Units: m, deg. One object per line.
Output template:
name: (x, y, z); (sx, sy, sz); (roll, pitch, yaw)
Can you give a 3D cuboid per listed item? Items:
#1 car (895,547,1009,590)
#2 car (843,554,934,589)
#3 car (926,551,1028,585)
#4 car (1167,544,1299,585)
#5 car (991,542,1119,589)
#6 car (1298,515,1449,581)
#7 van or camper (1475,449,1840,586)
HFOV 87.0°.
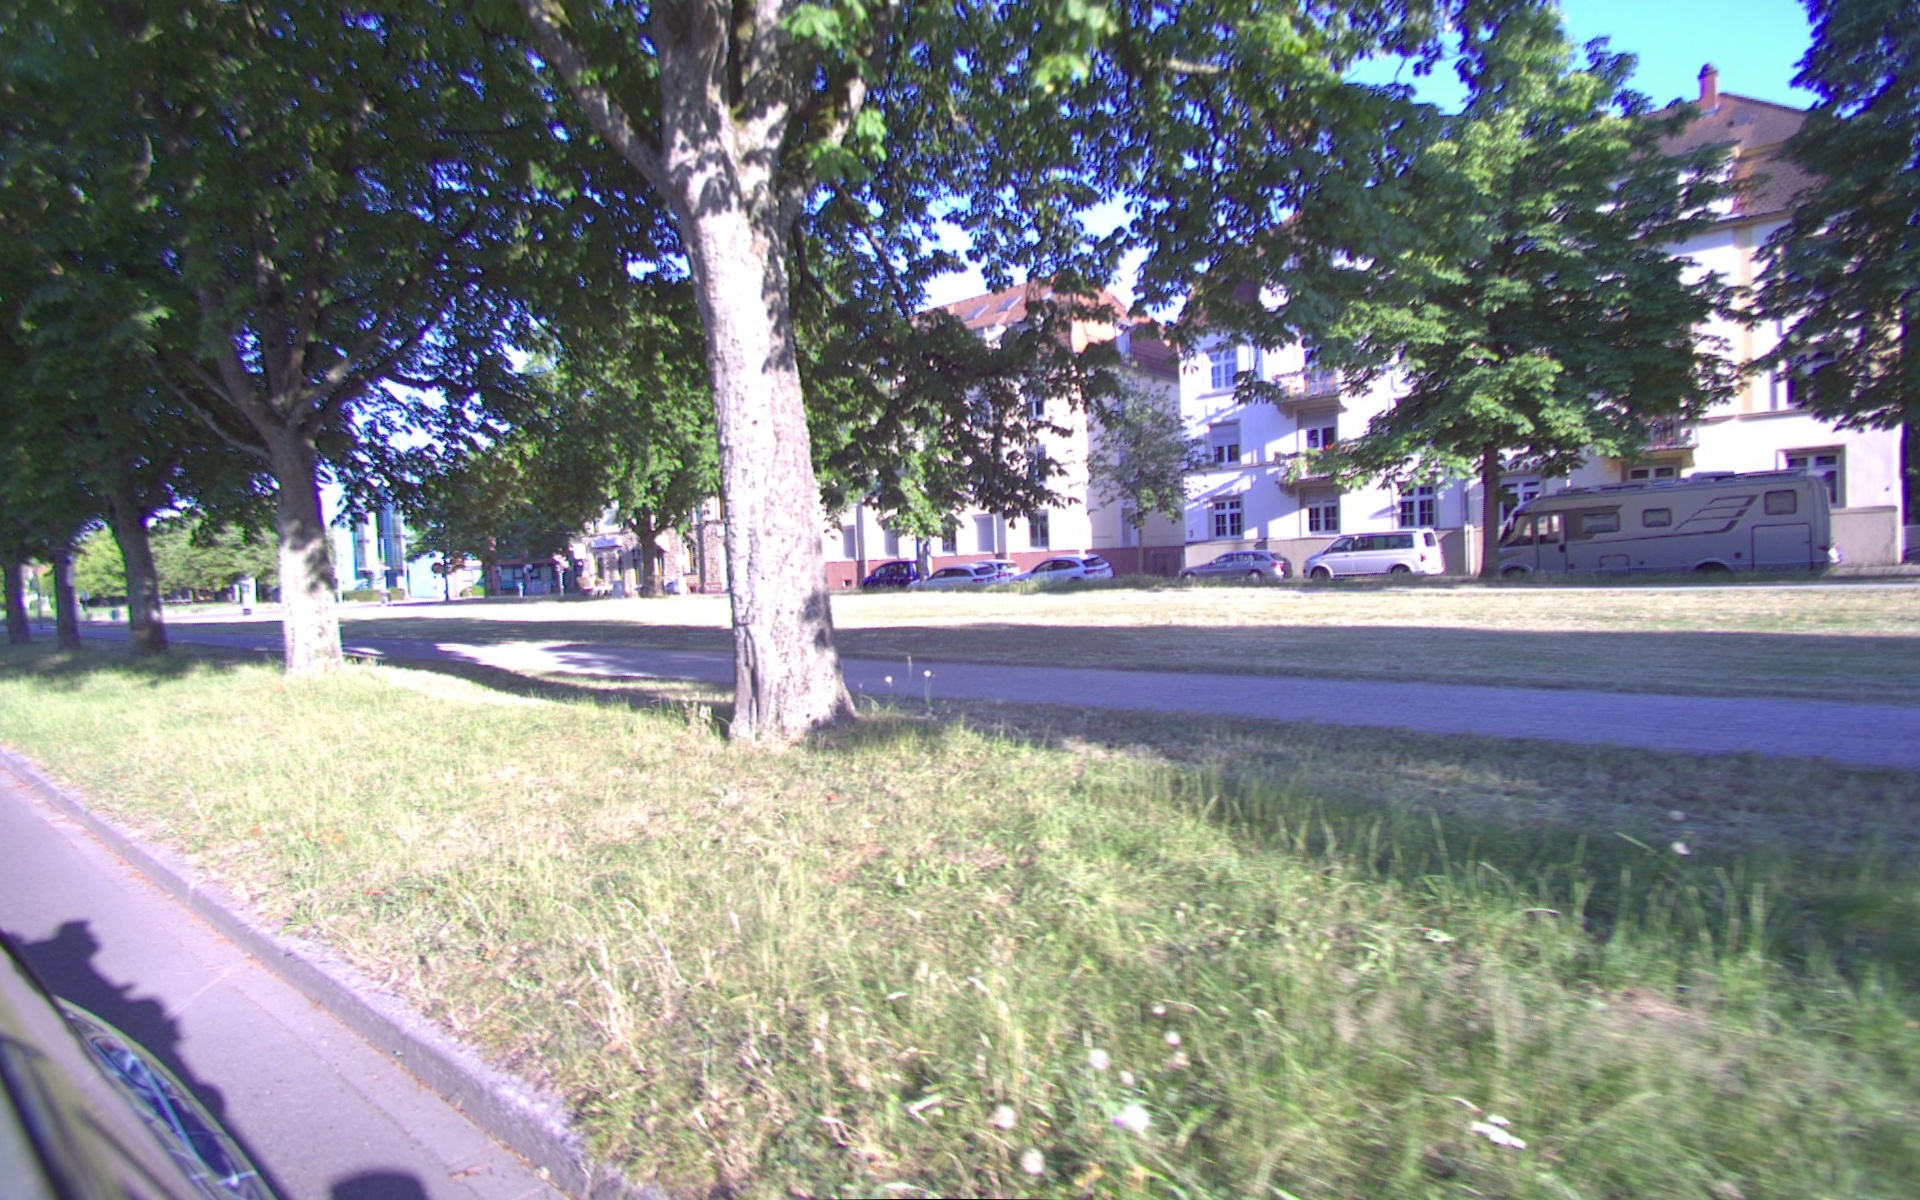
car: (-0.397, -1.360, 44.167); (4.874, 1.702, 1.973); (0, 3, 42)
car: (-3.928, -1.533, 54.945); (4.870, 1.702, 1.975); (-1, 3, 39)
car: (0.808, -1.578, 50.643); (4.870, 1.464, 1.975); (-1, 3, 39)
car: (11.165, -1.454, 41.578); (4.870, 1.464, 1.975); (-1, 3, 39)
car: (3.752, -1.358, 40.563); (4.874, 1.702, 1.973); (0, 3, 42)
car: (15.497, -1.925, 38.110); (4.876, 2.218, 1.972); (0, 3, 43)
van or camper: (18.830, -2.086, 27.698); (7.894, 3.133, 3.221); (0, 3, 42)
